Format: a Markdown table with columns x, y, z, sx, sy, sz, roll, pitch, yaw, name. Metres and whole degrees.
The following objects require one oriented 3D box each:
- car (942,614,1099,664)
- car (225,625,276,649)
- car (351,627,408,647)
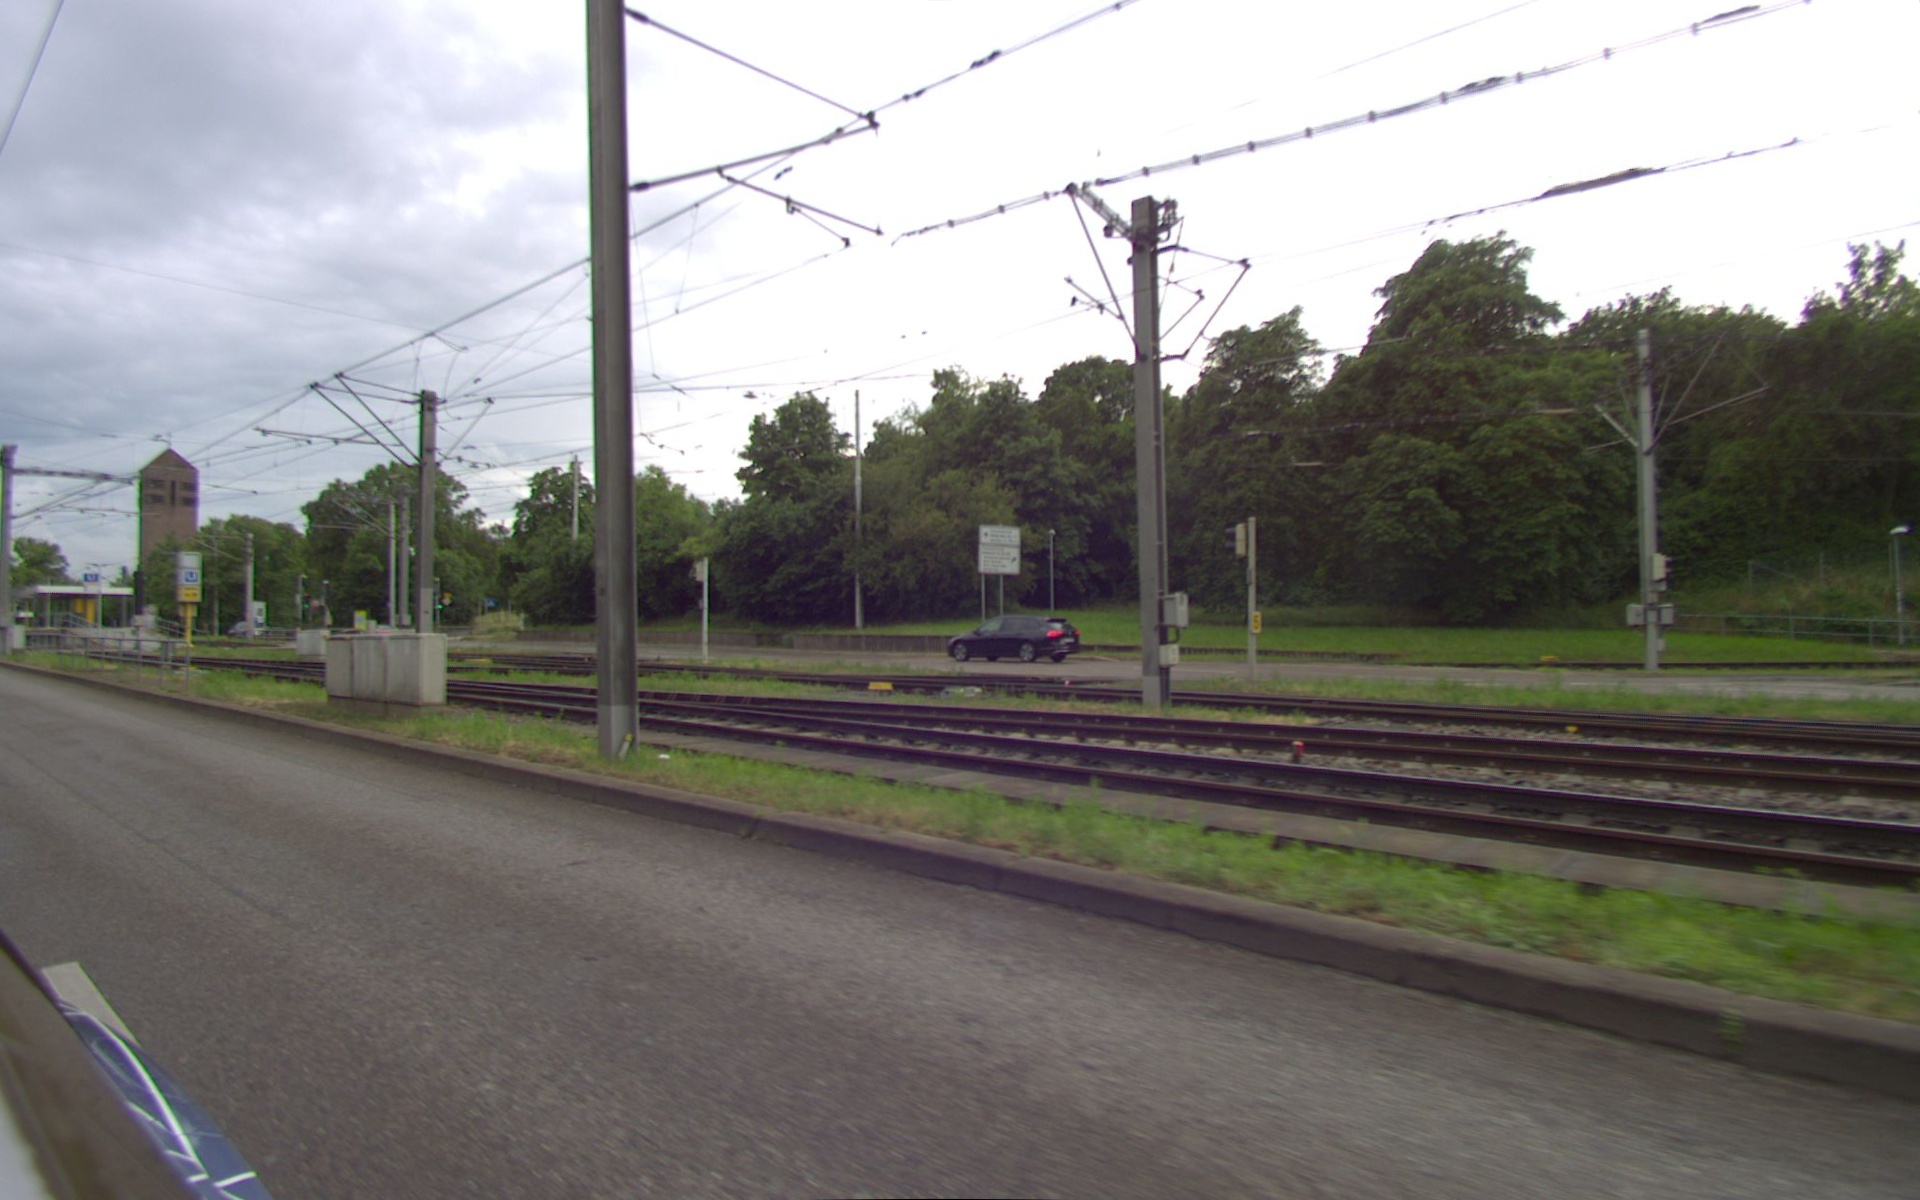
| x | y | z | sx | sy | sz | roll | pitch | yaw | name |
| --- | --- | --- | --- | --- | --- | --- | --- | --- | --- |
| 1.831 | 1.203 | 31.545 | 4.677 | 1.458 | 1.908 | -2 | -2 | 39 | car |
| -54.277 | 2.808 | 77.418 | 4.859 | 1.752 | 2.062 | -2 | -2 | 41 | car |
| -38.483 | 2.467 | 67.098 | 4.471 | 1.271 | 1.907 | -2 | -2 | 41 | car |
